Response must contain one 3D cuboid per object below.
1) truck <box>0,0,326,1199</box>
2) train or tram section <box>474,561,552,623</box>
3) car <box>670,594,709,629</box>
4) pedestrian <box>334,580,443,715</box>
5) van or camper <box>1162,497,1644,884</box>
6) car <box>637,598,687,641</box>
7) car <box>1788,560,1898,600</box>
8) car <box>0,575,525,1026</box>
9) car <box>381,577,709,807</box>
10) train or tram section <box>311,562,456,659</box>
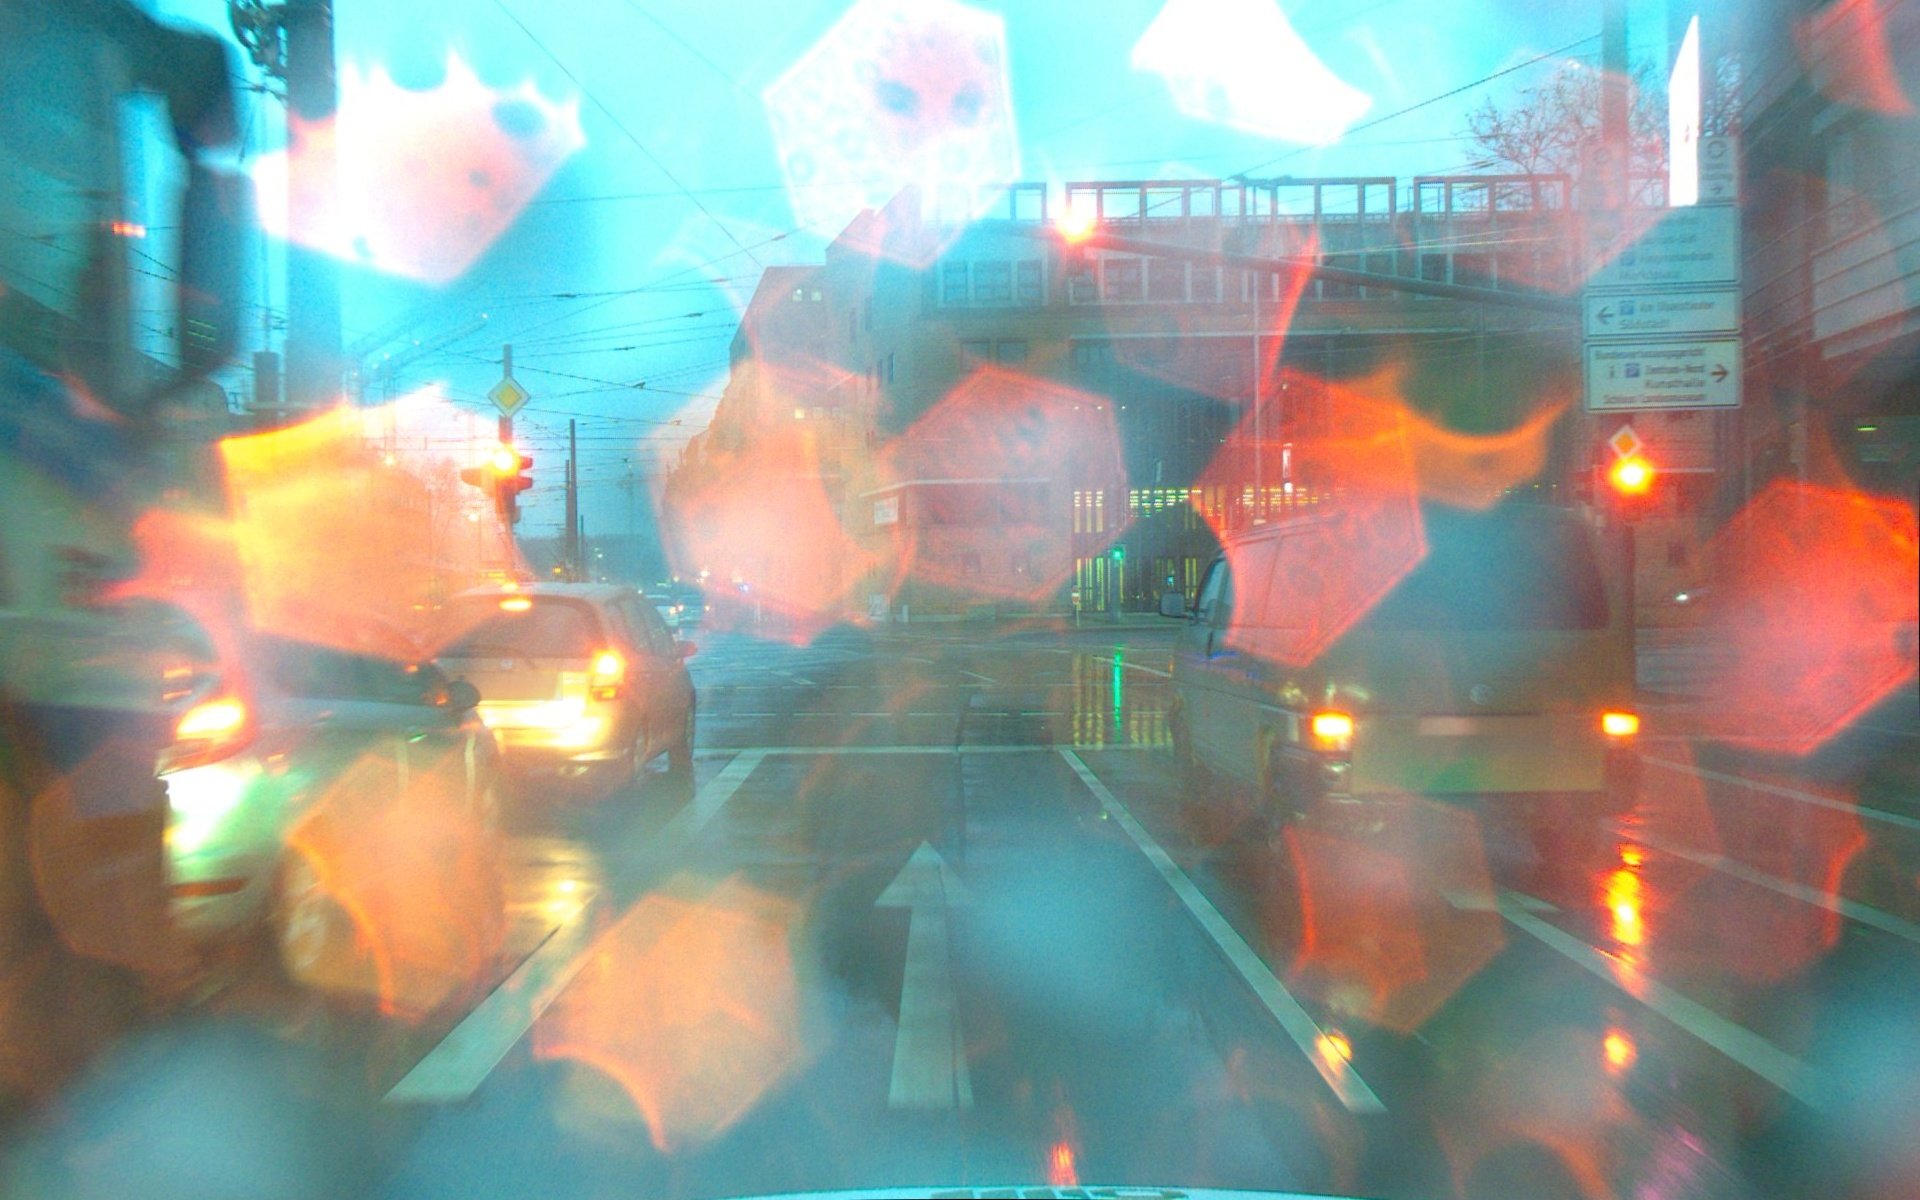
[{"bbox_3d":[-2.747,-0.328,0.158,2.783,3.697,7.522,-1,0,-3],"label":"truck"},{"bbox_3d":[-28.967,-0.497,108.393,3.135,3.496,27.749,-1,0,-12],"label":"train or tram section"},{"bbox_3d":[-13.455,0.559,82.243,1.837,1.606,3.991,2,0,-10],"label":"car"},{"bbox_3d":[-7.170,0.590,20.761,0.702,1.629,1.032,-3,0,39],"label":"pedestrian"},{"bbox_3d":[2.507,0.442,10.532,1.721,1.940,4.417,1,0,-2],"label":"van or camper"},{"bbox_3d":[-12.037,0.745,66.691,1.838,1.606,3.988,2,0,-12],"label":"car"},{"bbox_3d":[39.324,-0.890,73.769,3.927,1.721,2.002,-1,0,14],"label":"car"},{"bbox_3d":[-3.310,0.658,7.431,1.671,1.473,3.999,1,0,-1],"label":"car"},{"bbox_3d":[-3.019,0.594,12.784,1.663,1.485,3.756,-1,0,-2],"label":"car"},{"bbox_3d":[-25.169,0.361,73.474,2.812,3.677,20.022,-1,0,-10],"label":"train or tram section"}]
